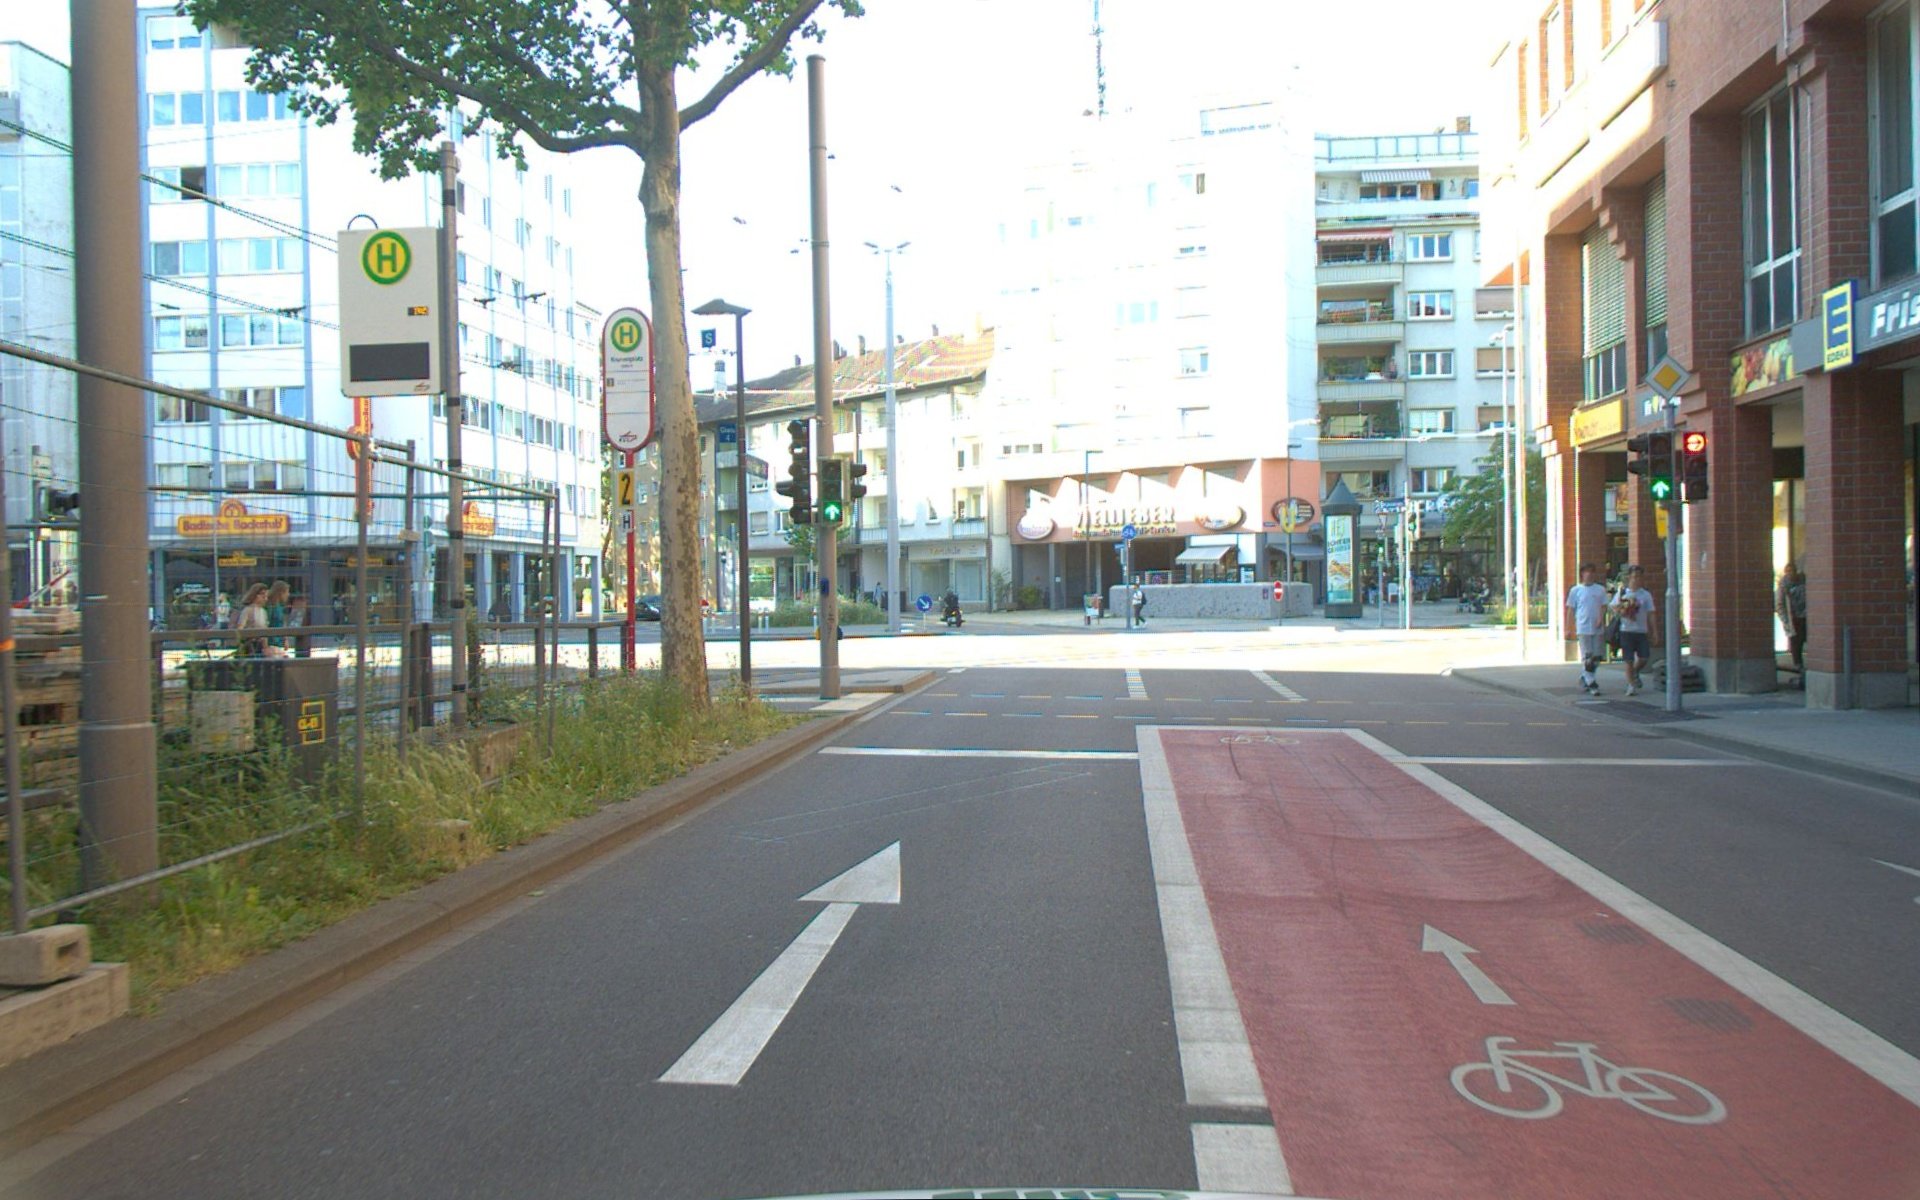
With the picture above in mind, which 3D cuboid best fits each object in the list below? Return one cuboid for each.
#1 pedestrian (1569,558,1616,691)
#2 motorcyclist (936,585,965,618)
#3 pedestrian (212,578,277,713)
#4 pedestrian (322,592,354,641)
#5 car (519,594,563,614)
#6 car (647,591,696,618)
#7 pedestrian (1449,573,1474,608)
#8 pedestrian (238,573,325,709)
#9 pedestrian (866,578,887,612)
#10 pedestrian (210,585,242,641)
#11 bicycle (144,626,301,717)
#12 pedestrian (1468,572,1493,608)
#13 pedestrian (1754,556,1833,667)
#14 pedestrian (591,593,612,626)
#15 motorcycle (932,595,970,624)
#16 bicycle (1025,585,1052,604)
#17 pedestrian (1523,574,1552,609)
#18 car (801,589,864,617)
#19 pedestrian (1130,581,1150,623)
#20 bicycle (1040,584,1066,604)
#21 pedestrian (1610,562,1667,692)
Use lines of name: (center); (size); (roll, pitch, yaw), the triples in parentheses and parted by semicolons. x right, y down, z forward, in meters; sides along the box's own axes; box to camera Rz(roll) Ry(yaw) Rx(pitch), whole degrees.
pedestrian: (8.842, 0.335, 23.127); (0.466, 1.824, 0.541); (-1, 0, 5)
motorcyclist: (-0.404, 0.064, 68.340); (0.954, 1.370, 1.133); (0, 0, -15)
pedestrian: (-9.218, 0.581, 21.324); (0.554, 1.709, 0.531); (-1, 0, 7)
pedestrian: (-22.180, 0.583, 59.027); (0.788, 1.754, 0.777); (-1, 0, 6)
car: (-34.339, 0.326, 135.540); (2.020, 1.531, 4.035); (-2, 1, -39)
car: (-16.315, 0.251, 93.728); (1.794, 1.410, 4.597); (-1, 0, 2)
pedestrian: (20.963, -0.397, 69.137); (0.708, 1.471, 0.924); (0, 1, 41)
pedestrian: (-9.068, 0.533, 22.123); (0.761, 1.765, 0.849); (-1, 0, 2)
pedestrian: (-4.866, -0.281, 96.255); (0.727, 1.886, 0.934); (-4, 1, -40)
pedestrian: (-24.235, 0.424, 54.610); (0.615, 1.823, 0.785); (-1, 0, 7)
bicycle: (-9.281, 0.900, 20.821); (1.790, 1.097, 0.481); (-1, 0, 6)
pedestrian: (21.446, -0.425, 68.162); (0.707, 1.445, 0.925); (0, 1, 37)
pedestrian: (12.454, 0.167, 24.718); (0.836, 1.617, 0.746); (-1, 0, -34)
pedestrian: (-19.098, 0.511, 88.111); (0.801, 1.754, 0.764); (0, 0, -43)
motorcycle: (-0.391, 0.379, 68.342); (0.957, 1.151, 2.794); (0, 0, -14)
bicycle: (4.317, -0.306, 90.971); (0.491, 1.056, 1.615); (-1, 0, -39)
pedestrian: (23.387, -0.363, 66.993); (0.704, 1.388, 1.108); (-1, 1, -3)
car: (-6.894, 0.158, 89.021); (1.903, 1.413, 3.960); (-1, 0, -30)
pedestrian: (7.029, 0.073, 64.712); (0.535, 1.611, 0.550); (-1, 0, -37)
bicycle: (5.120, -0.336, 91.228); (0.491, 1.056, 1.615); (-1, 0, -39)
pedestrian: (9.307, 0.362, 22.718); (0.620, 1.755, 0.631); (-1, 0, 14)
